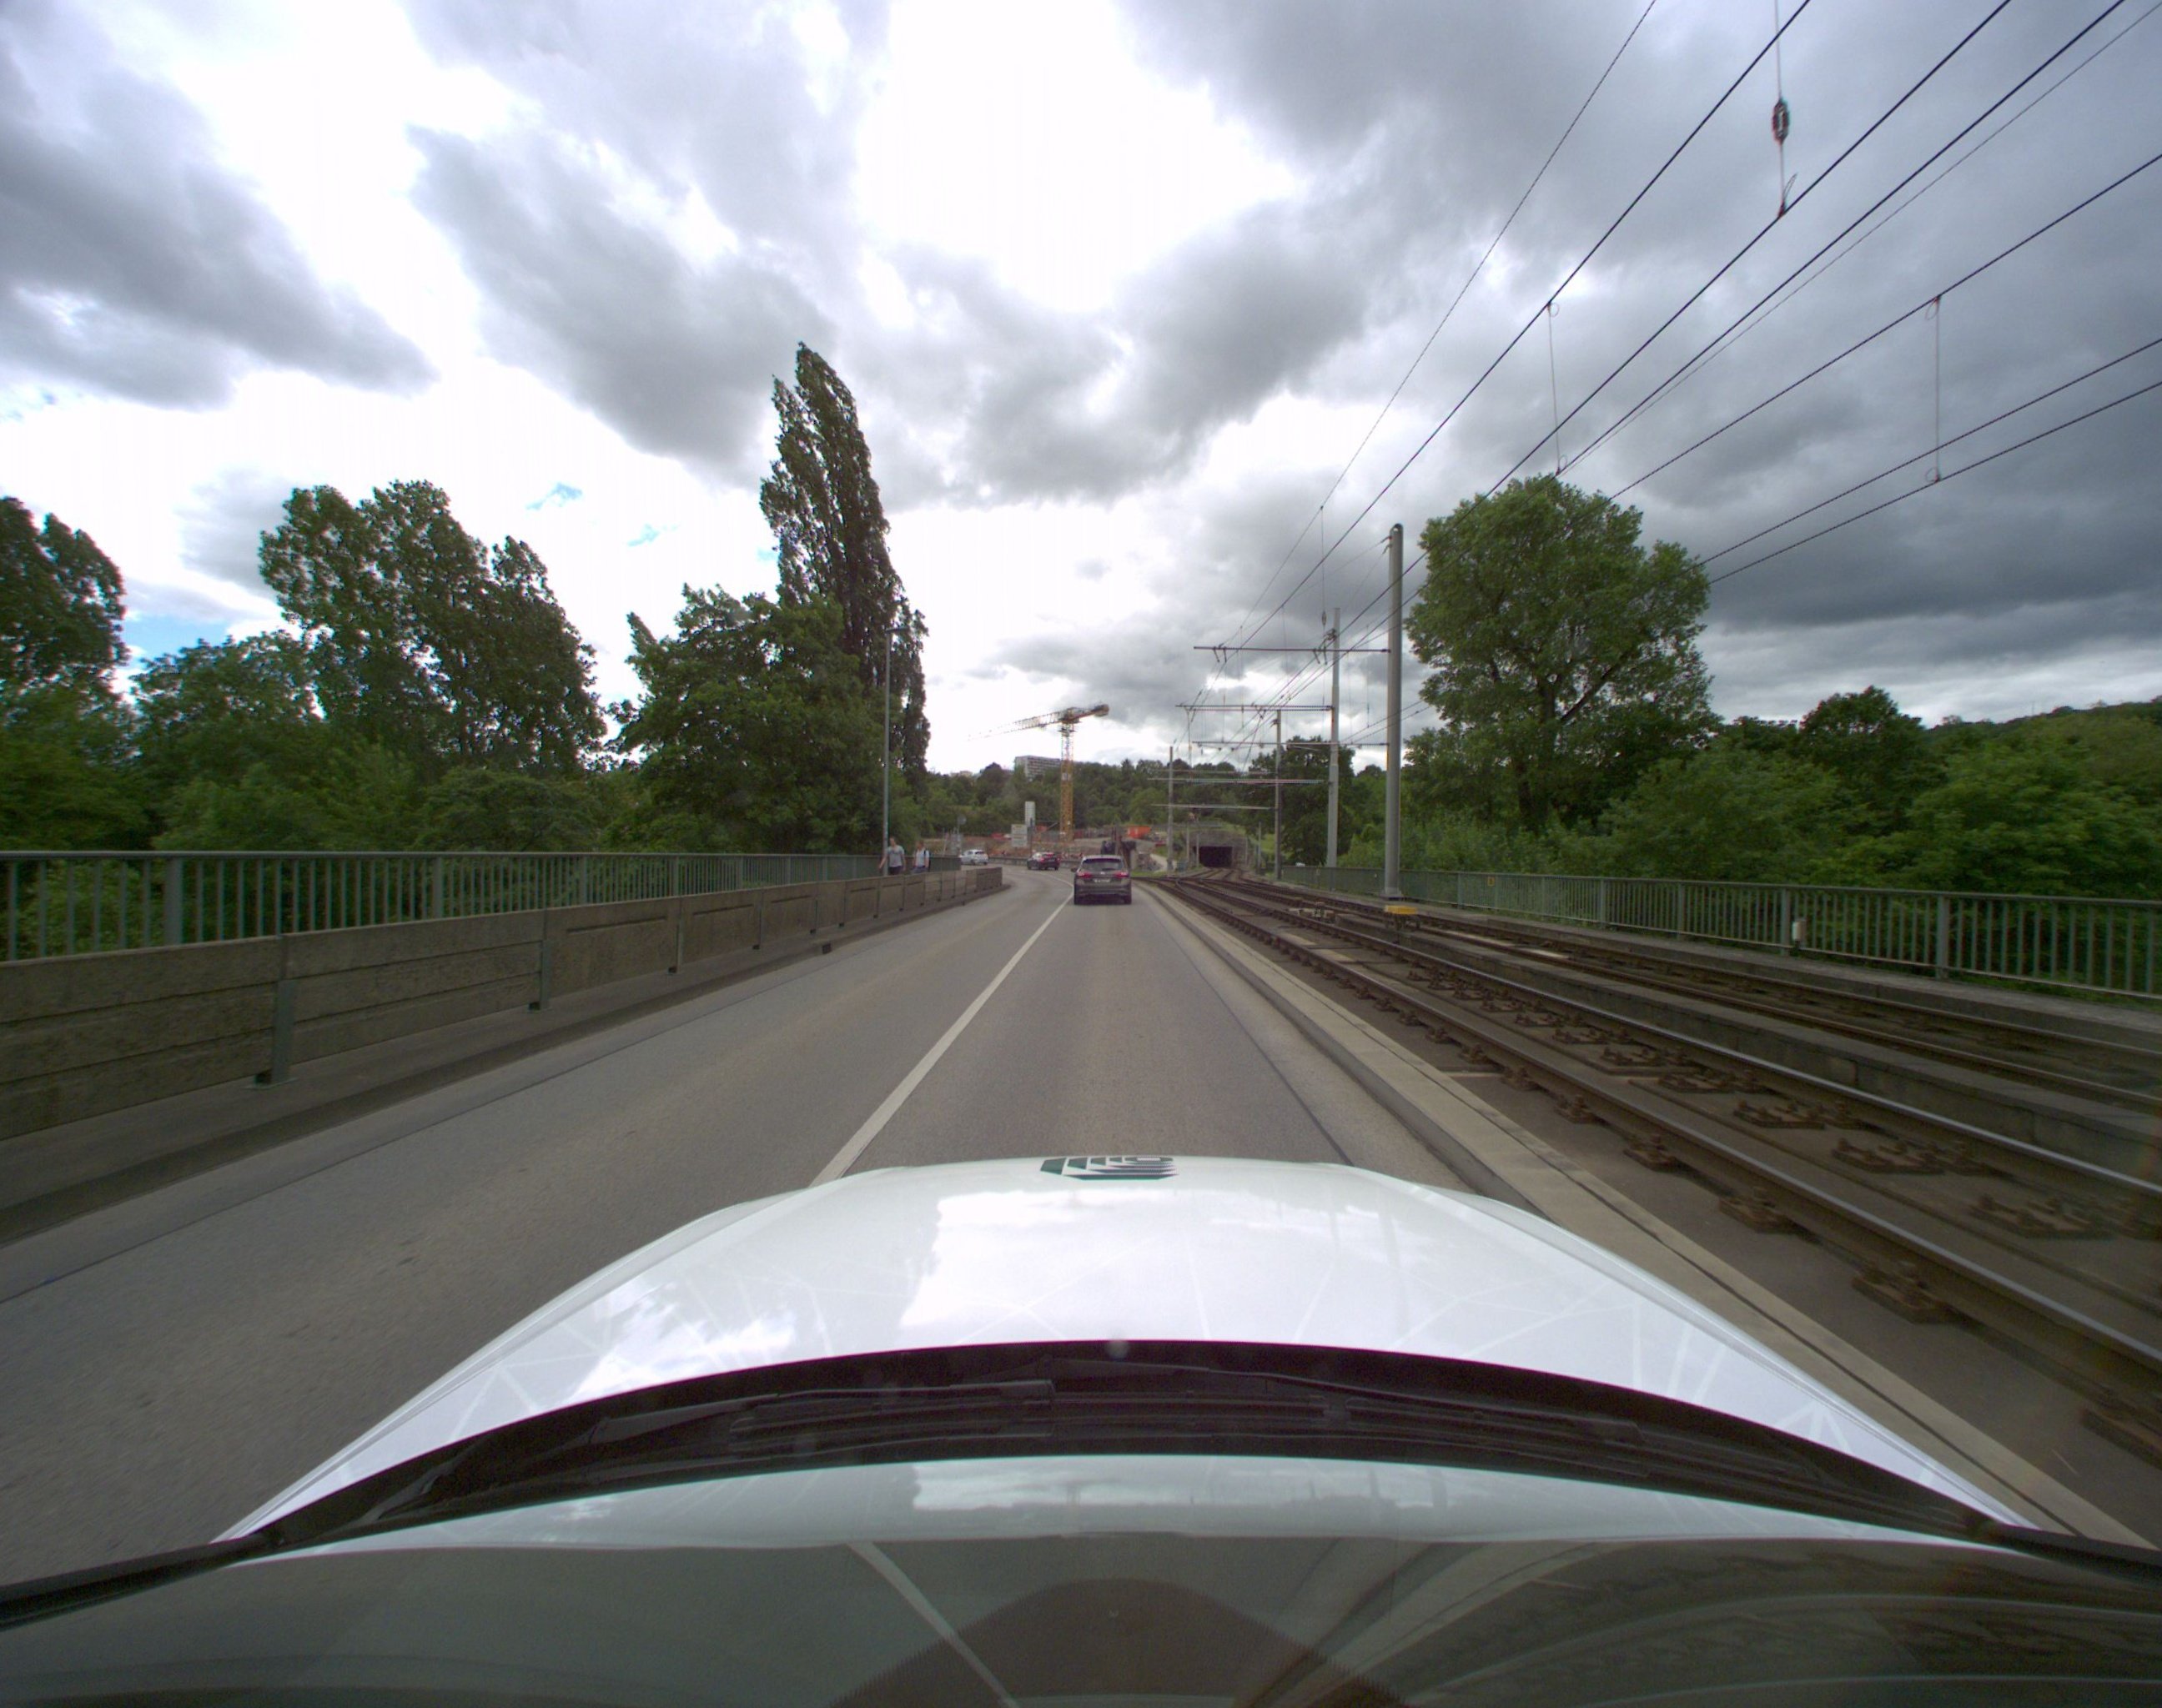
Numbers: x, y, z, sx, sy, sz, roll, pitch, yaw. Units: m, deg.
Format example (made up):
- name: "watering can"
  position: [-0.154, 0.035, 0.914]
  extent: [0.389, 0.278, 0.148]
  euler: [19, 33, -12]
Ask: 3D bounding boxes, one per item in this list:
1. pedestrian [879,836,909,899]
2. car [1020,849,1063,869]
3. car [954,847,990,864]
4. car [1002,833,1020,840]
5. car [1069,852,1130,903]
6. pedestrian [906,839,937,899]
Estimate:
- name: "pedestrian"
  position: [-5.614, 0.399, 24.468]
  extent: [0.718, 1.839, 0.723]
  euler: [0, 0, 1]
- name: "car"
  position: [-3.319, 0.396, 67.899]
  extent: [1.692, 1.606, 4.264]
  euler: [-1, 1, -33]
- name: "car"
  position: [-10.922, 0.134, 81.481]
  extent: [1.693, 1.606, 4.261]
  euler: [-1, 1, -37]
- name: "car"
  position: [-16.014, -4.026, 186.587]
  extent: [3.950, 1.409, 1.811]
  euler: [1, 0, 43]
- name: "car"
  position: [0.667, 0.702, 26.129]
  extent: [1.822, 1.510, 4.004]
  euler: [0, 0, 3]
- name: "pedestrian"
  position: [-4.616, 0.423, 23.650]
  extent: [0.718, 1.701, 0.723]
  euler: [0, 0, 1]
